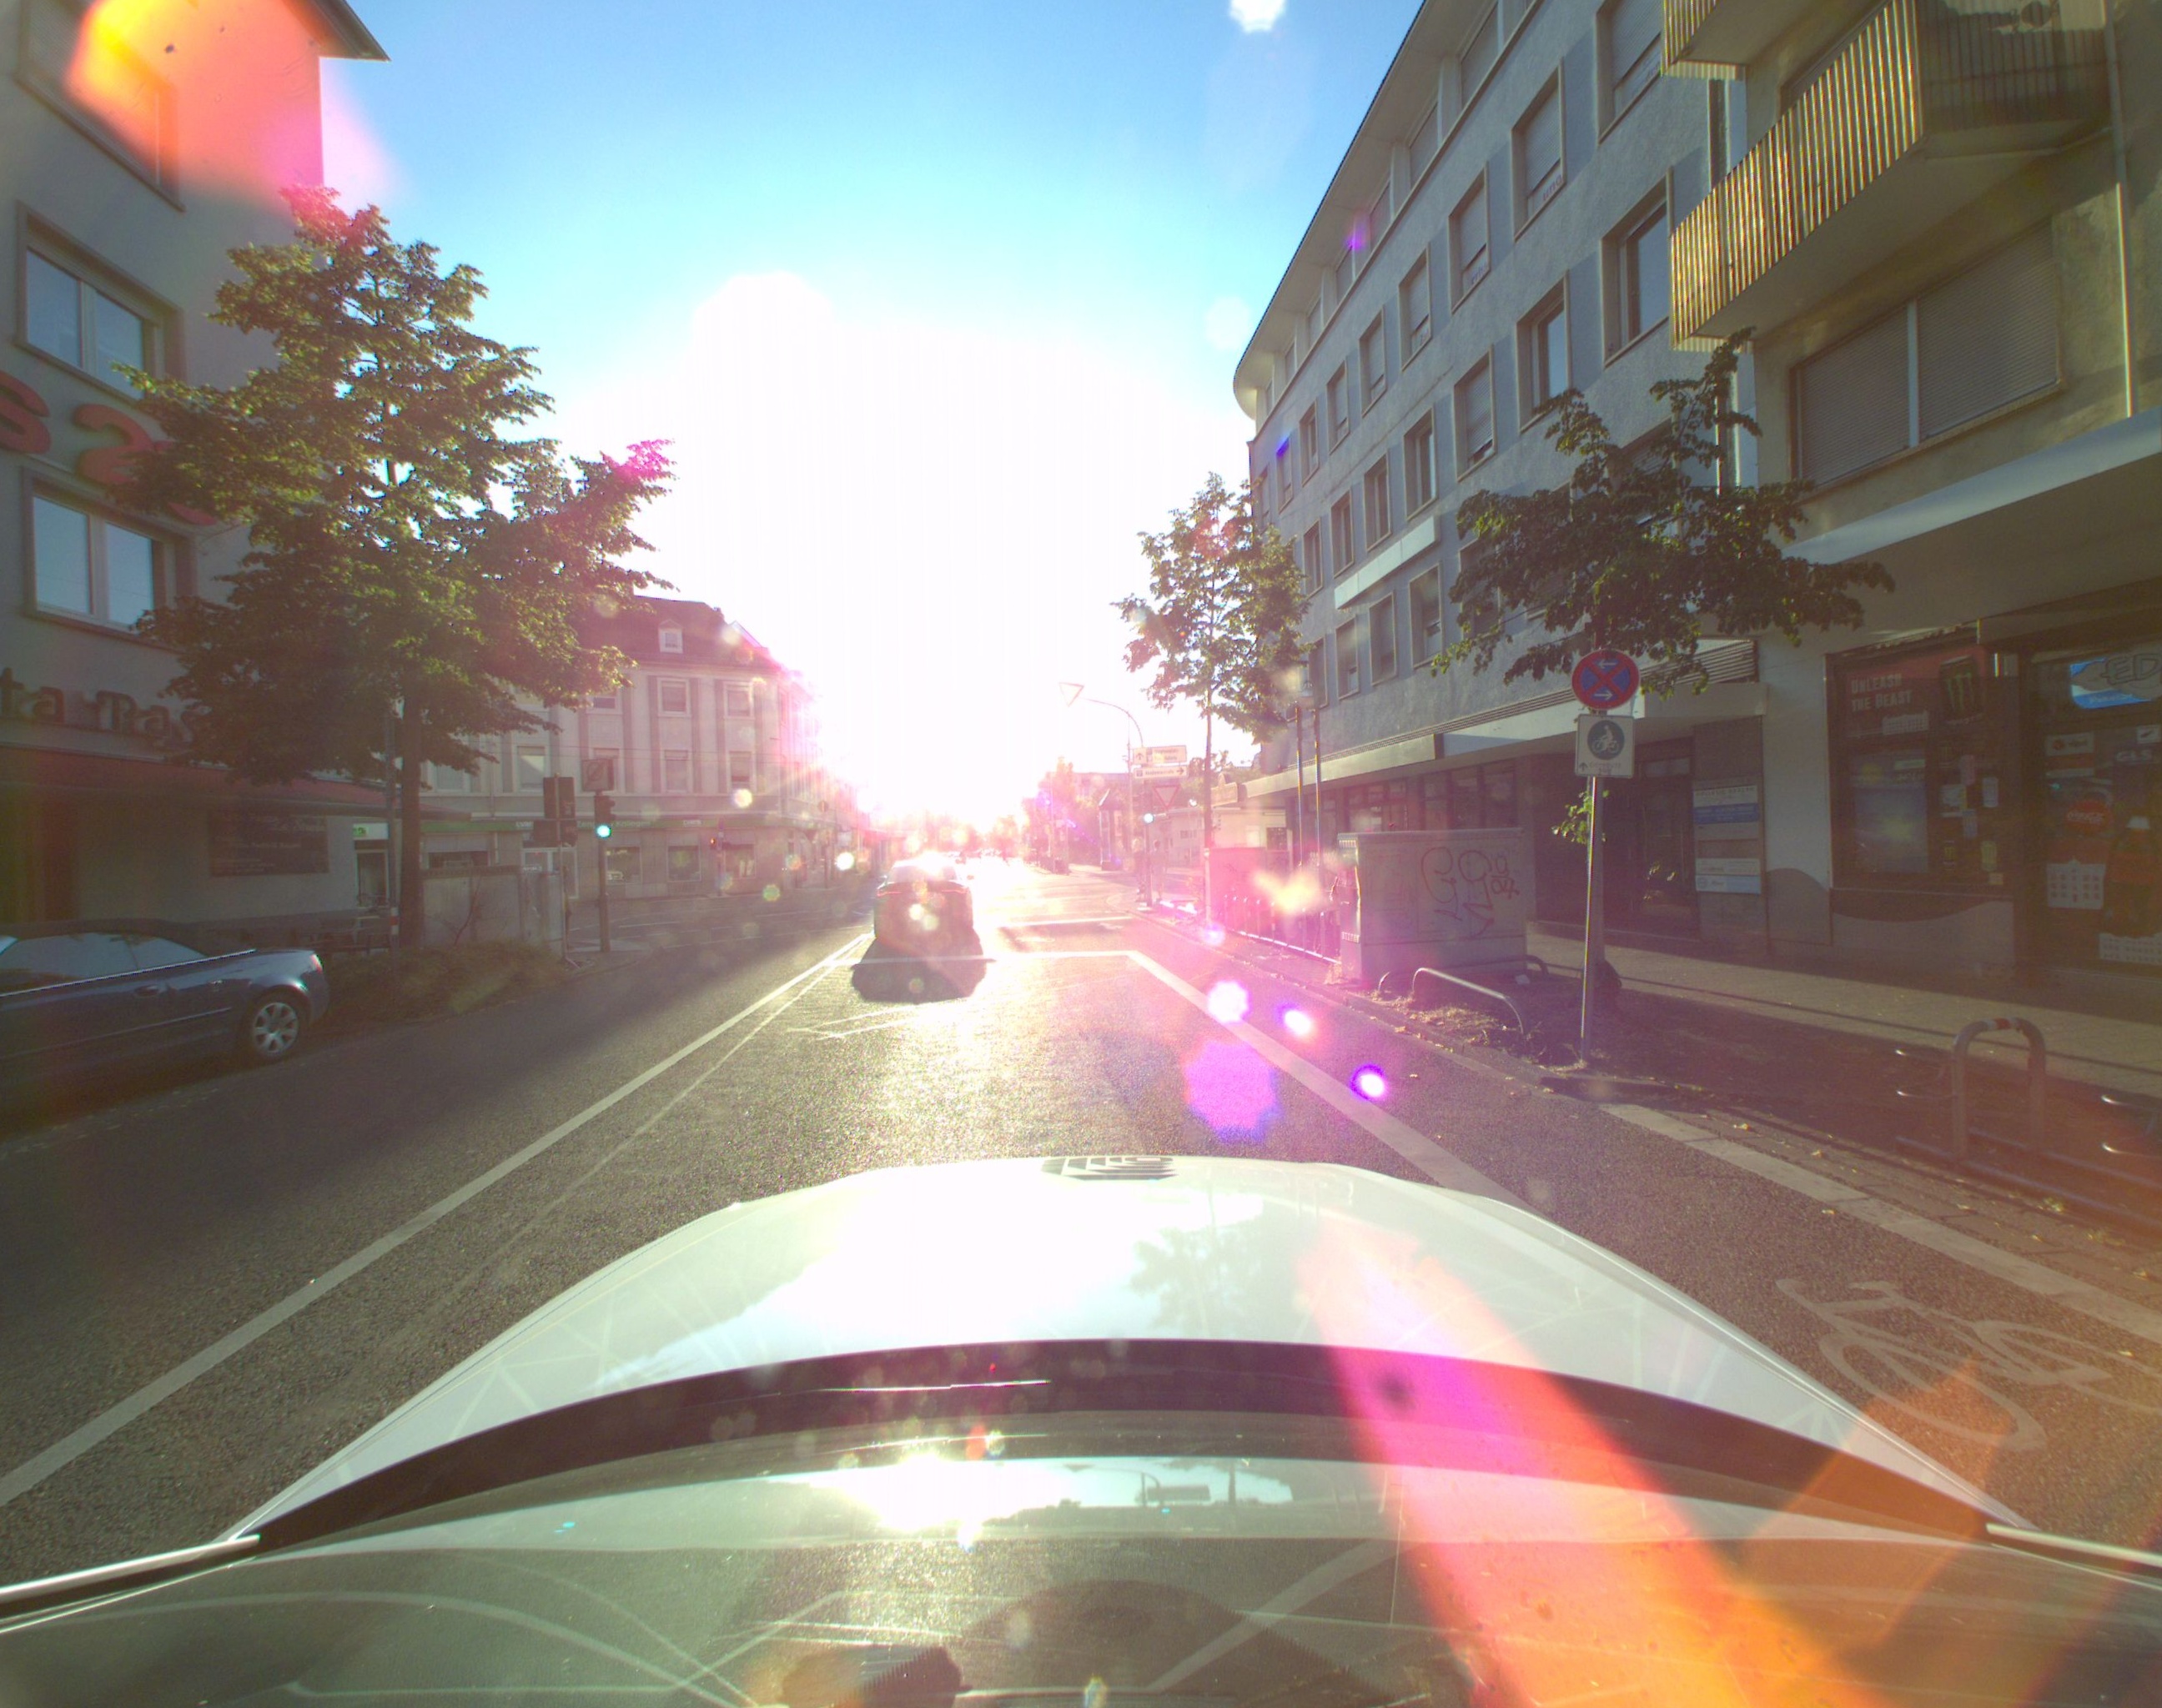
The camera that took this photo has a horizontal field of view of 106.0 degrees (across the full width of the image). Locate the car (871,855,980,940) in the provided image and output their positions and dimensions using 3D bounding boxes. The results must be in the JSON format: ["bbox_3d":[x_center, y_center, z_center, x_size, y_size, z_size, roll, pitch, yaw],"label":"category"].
[{"bbox_3d":[-3.168,0.790,16.728,1.891,1.480,4.526,0,-1,-11],"label":"car"}]

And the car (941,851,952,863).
[{"bbox_3d":[-19.523,0.441,118.289,1.481,1.559,3.250,-1,0,-7],"label":"car"}]

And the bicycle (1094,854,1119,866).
[{"bbox_3d":[2.125,0.506,67.547,2.070,0.982,0.560,-2,-1,1],"label":"bicycle"}]

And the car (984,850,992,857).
[{"bbox_3d":[-24.934,-0.099,219.349,1.990,1.816,3.993,0,-1,-5],"label":"car"}]

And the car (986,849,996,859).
[{"bbox_3d":[-19.397,-0.058,175.999,1.990,2.013,3.994,-2,0,-5],"label":"car"}]

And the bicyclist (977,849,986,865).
[{"bbox_3d":[-10.292,0.307,84.348,0.849,1.658,0.675,0,-1,-6],"label":"bicyclist"}]

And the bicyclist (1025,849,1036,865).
[{"bbox_3d":[-5.274,0.317,85.044,1.124,1.601,0.702,0,-1,4],"label":"bicyclist"}]

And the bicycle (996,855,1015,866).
[{"bbox_3d":[-8.271,0.666,89.432,2.115,1.204,0.499,0,-1,-6],"label":"bicycle"}]

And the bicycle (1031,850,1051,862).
[{"bbox_3d":[-4.264,0.237,86.856,2.107,1.204,0.501,0,-1,5],"label":"bicycle"}]

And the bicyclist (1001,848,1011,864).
[{"bbox_3d":[-8.267,0.215,89.438,1.128,1.791,0.763,0,-1,-6],"label":"bicyclist"}]

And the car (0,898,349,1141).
[{"bbox_3d":[-7.613,1.137,5.545,1.647,1.353,4.302,-3,0,-6],"label":"car"}]

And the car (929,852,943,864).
[{"bbox_3d":[-18.865,0.564,105.808,1.543,1.469,3.343,-1,0,-7],"label":"car"}]

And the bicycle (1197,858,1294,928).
[{"bbox_3d":[3.005,0.692,14.886,1.658,1.194,0.475,-2,1,-12],"label":"bicycle"}]

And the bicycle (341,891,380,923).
[{"bbox_3d":[-26.645,1.933,30.132,0.499,1.059,1.730,-2,0,-21],"label":"bicycle"}]

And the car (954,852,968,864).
[{"bbox_3d":[-14.419,0.504,98.166,1.543,1.468,3.343,-1,0,-7],"label":"car"}]

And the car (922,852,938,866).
[{"bbox_3d":[-18.025,0.584,97.244,1.544,1.483,3.344,-2,0,-7],"label":"car"}]

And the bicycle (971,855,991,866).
[{"bbox_3d":[-10.356,0.681,84.330,2.115,1.204,0.499,0,-1,-6],"label":"bicycle"}]

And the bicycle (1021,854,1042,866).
[{"bbox_3d":[-5.194,0.660,85.022,2.107,1.204,0.501,0,-1,5],"label":"bicycle"}]

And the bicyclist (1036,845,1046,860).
[{"bbox_3d":[-4.254,-0.190,86.870,0.955,1.601,0.647,0,-1,5],"label":"bicyclist"}]

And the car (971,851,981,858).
[{"bbox_3d":[-25.631,0.190,198.963,1.990,1.684,3.994,-2,0,-5],"label":"car"}]

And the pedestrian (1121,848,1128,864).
[{"bbox_3d":[4.367,0.203,81.217,0.678,1.657,0.696,0,-1,1],"label":"pedestrian"}]

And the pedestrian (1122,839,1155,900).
[{"bbox_3d":[1.719,0.465,24.362,0.589,1.773,0.741,-2,0,-37],"label":"pedestrian"}]

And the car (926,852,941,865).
[{"bbox_3d":[-18.239,0.565,100.880,1.543,1.469,3.343,-1,0,-7],"label":"car"}]

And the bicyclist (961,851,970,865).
[{"bbox_3d":[-12.426,0.438,87.385,0.898,1.481,0.733,0,-1,-6],"label":"bicyclist"}]

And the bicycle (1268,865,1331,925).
[{"bbox_3d":[4.136,0.752,15.545,0.403,1.010,1.663,-4,1,-12],"label":"bicycle"}]

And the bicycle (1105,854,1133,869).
[{"bbox_3d":[2.882,0.547,61.872,2.013,1.044,0.560,-2,-1,1],"label":"bicycle"}]

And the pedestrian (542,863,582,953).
[{"bbox_3d":[-9.923,1.010,15.566,0.589,1.656,0.791,-2,0,-34],"label":"pedestrian"}]

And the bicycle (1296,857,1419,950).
[{"bbox_3d":[3.872,0.661,11.388,1.662,1.194,0.491,-2,0,-20],"label":"bicycle"}]

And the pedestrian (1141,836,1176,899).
[{"bbox_3d":[2.246,0.393,23.532,0.641,1.773,0.743,-2,0,-27],"label":"pedestrian"}]

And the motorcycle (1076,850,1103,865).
[{"bbox_3d":[0.721,0.272,70.645,2.228,1.201,0.720,-2,0,-2],"label":"motorcycle"}]

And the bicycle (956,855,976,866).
[{"bbox_3d":[-12.341,0.705,87.379,2.115,1.204,0.499,0,-1,-6],"label":"bicycle"}]

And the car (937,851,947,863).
[{"bbox_3d":[-19.197,0.463,112.509,1.306,1.582,2.881,-1,0,-7],"label":"car"}]
